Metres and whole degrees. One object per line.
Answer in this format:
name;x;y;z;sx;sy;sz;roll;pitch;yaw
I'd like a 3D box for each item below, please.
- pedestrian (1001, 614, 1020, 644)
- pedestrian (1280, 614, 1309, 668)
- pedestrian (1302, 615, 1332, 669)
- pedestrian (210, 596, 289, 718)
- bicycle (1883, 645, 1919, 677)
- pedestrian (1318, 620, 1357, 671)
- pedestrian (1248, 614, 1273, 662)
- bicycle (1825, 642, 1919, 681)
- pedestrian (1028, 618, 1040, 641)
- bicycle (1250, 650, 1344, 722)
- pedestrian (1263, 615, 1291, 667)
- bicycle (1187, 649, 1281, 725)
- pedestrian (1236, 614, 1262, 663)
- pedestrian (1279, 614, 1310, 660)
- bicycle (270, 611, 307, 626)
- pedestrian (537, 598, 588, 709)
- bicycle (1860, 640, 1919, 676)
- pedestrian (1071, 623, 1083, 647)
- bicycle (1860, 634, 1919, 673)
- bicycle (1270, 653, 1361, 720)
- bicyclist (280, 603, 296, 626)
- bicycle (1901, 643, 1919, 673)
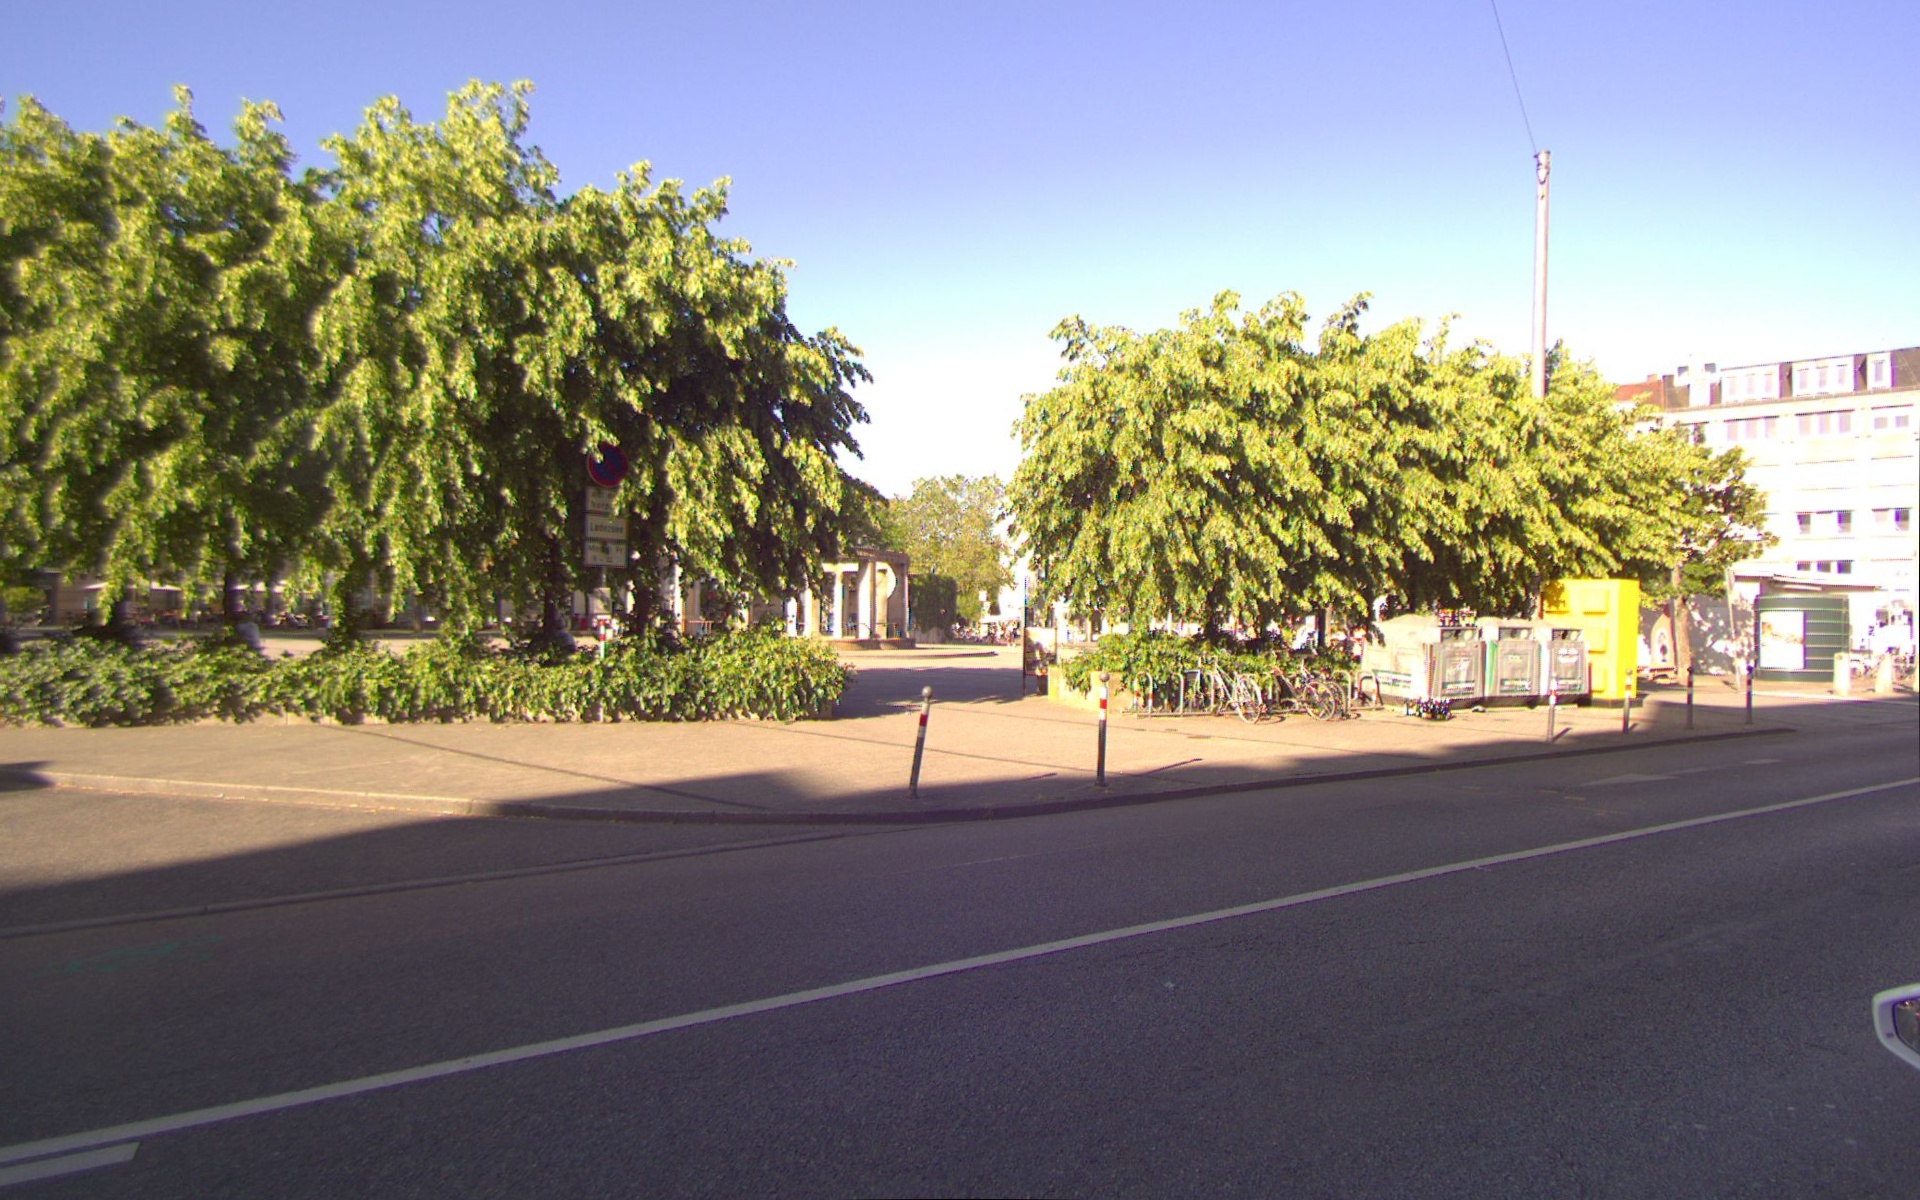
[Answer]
pedestrian;3.512;2.036;69.970;0.892;2.040;0.986;1;0;-26
pedestrian;12.991;1.592;39.037;0.886;2.040;0.993;1;0;7
pedestrian;13.850;1.615;38.986;0.886;2.040;0.993;1;0;7
pedestrian;-10.759;0.841;15.236;0.725;1.781;0.895;1;-1;-19
bicycle;36.747;2.327;38.028;0.834;1.171;2.517;1;-1;-34
pedestrian;15.534;1.873;41.356;0.890;2.040;1.280;1;-1;-18
pedestrian;13.095;1.646;43.815;0.886;2.040;0.993;1;0;7
bicycle;30.898;2.056;33.867;0.833;1.171;2.493;1;-1;-31
pedestrian;6.487;2.578;87.999;0.886;2.040;1.403;1;0;0
bicycle;5.379;1.354;16.128;0.425;1.036;1.561;1;-1;-28
pedestrian;12.640;1.627;40.045;0.886;2.040;0.993;1;0;7
bicycle;4.210;1.321;15.545;0.425;1.031;1.590;1;0;-28
pedestrian;12.418;1.636;43.189;0.886;2.040;0.993;1;0;7
pedestrian;15.229;1.678;45.763;0.888;2.040;1.219;1;-1;-9
bicycle;-43.570;1.188;65.215;0.580;0.966;1.899;1;-1;38
pedestrian;-6.560;0.864;16.616;0.725;1.781;0.895;1;-1;-19
bicycle;33.114;2.036;35.031;0.833;1.171;2.449;1;-1;-31
pedestrian;10.065;3.016;86.528;0.886;2.040;1.403;1;-1;12
bicycle;34.474;1.942;36.521;0.913;1.341;2.461;1;-1;-35
bicycle;5.793;1.387;16.448;0.425;0.971;1.518;0;0;-28
bicyclist;-43.601;0.943;65.153;0.663;1.447;0.695;1;-1;39
bicycle;38.671;2.314;39.507;0.834;1.171;2.308;1;-1;-34
